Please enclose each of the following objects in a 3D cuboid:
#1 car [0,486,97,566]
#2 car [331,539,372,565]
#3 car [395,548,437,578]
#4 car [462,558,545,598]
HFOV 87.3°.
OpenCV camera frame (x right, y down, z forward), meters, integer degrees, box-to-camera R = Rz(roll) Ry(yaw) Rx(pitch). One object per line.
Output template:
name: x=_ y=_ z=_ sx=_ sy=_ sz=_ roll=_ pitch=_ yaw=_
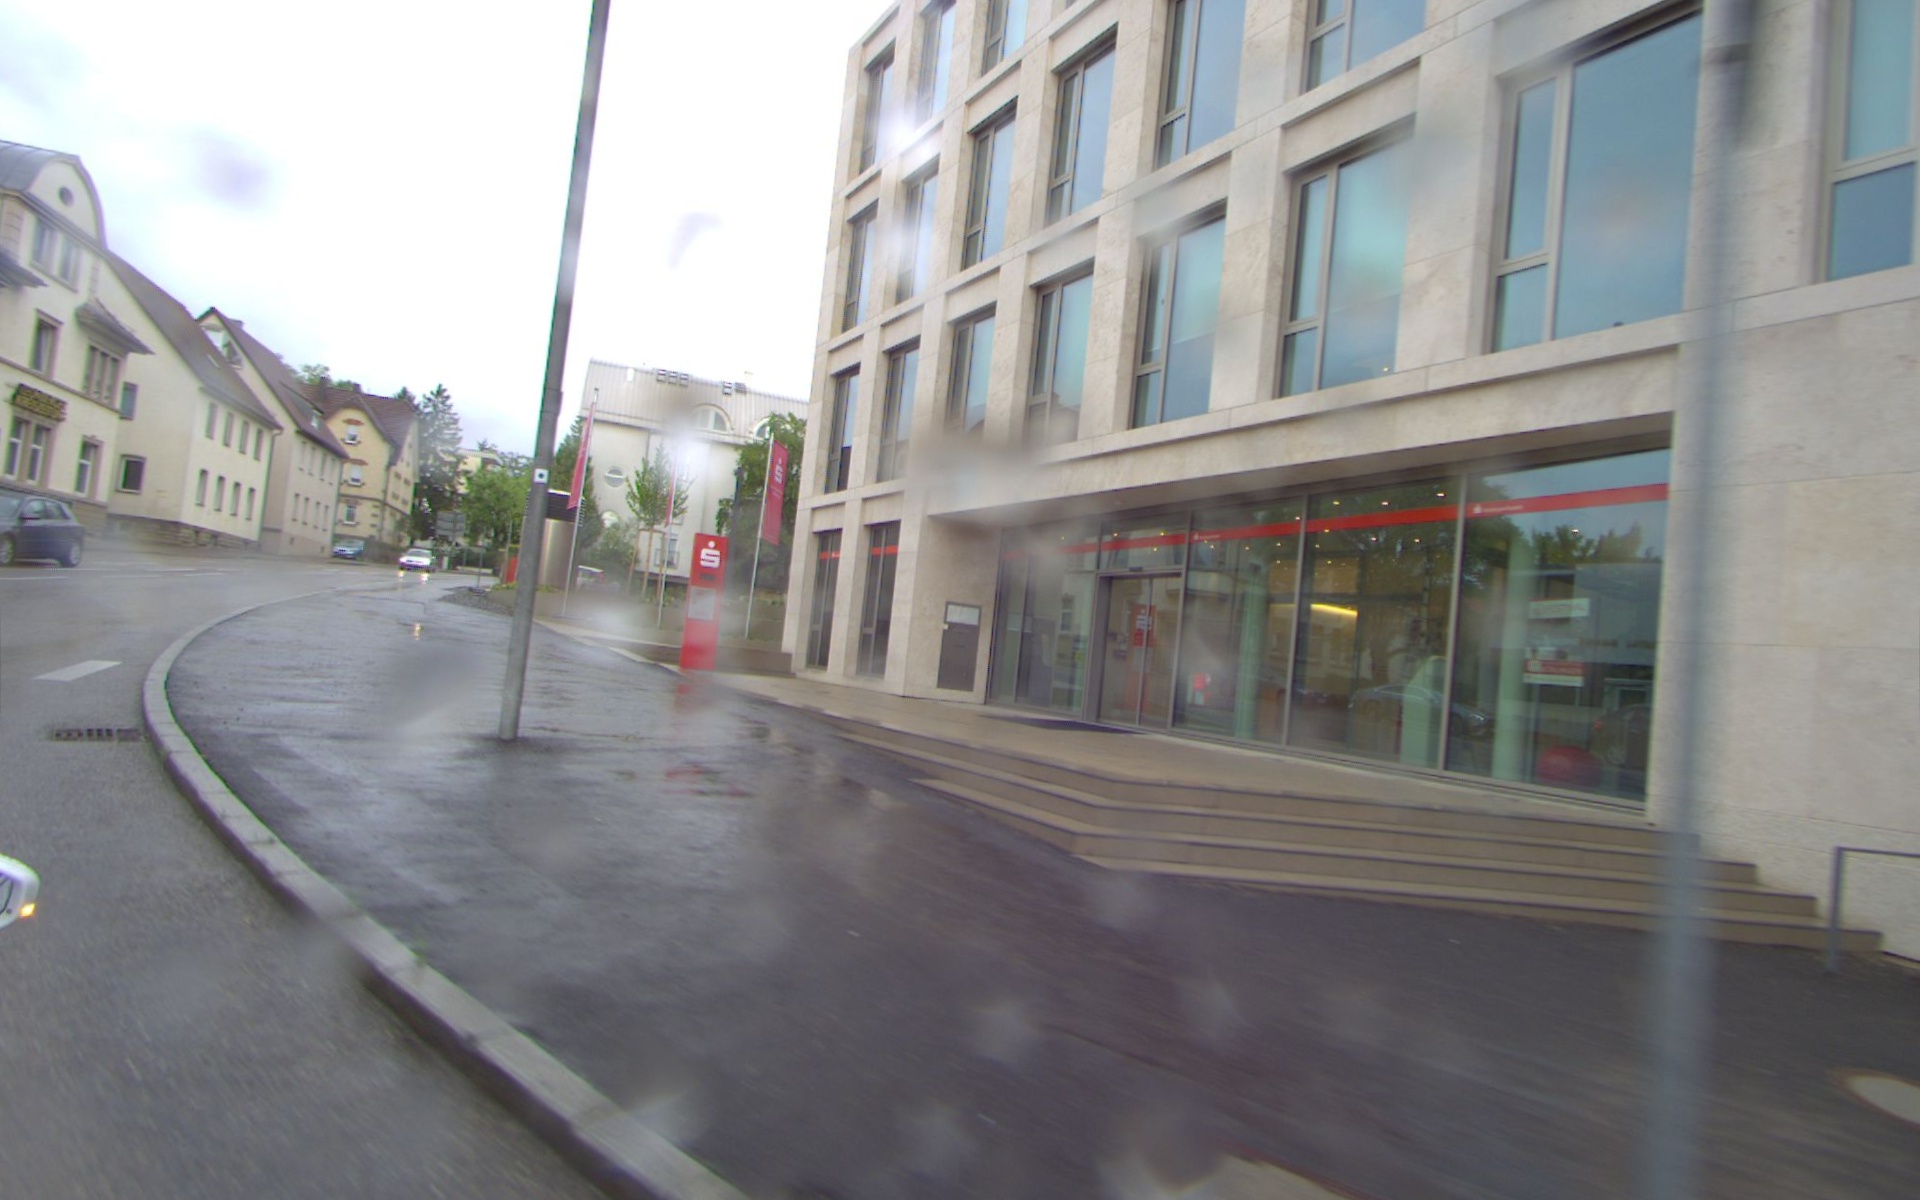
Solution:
car: x=-19.485 y=-1.535 z=20.201 sx=1.753 sy=1.470 sz=4.168 roll=6 pitch=0 yaw=-19
car: x=-44.040 y=-3.456 z=72.852 sx=1.672 sy=1.470 sz=3.220 roll=9 pitch=-1 yaw=-17
car: x=-35.343 y=-2.385 z=65.404 sx=1.610 sy=1.617 sz=3.220 roll=9 pitch=-1 yaw=-17
car: x=-21.164 y=-1.010 z=46.715 sx=3.187 sy=1.303 sz=1.689 roll=9 pitch=-1 yaw=-19
